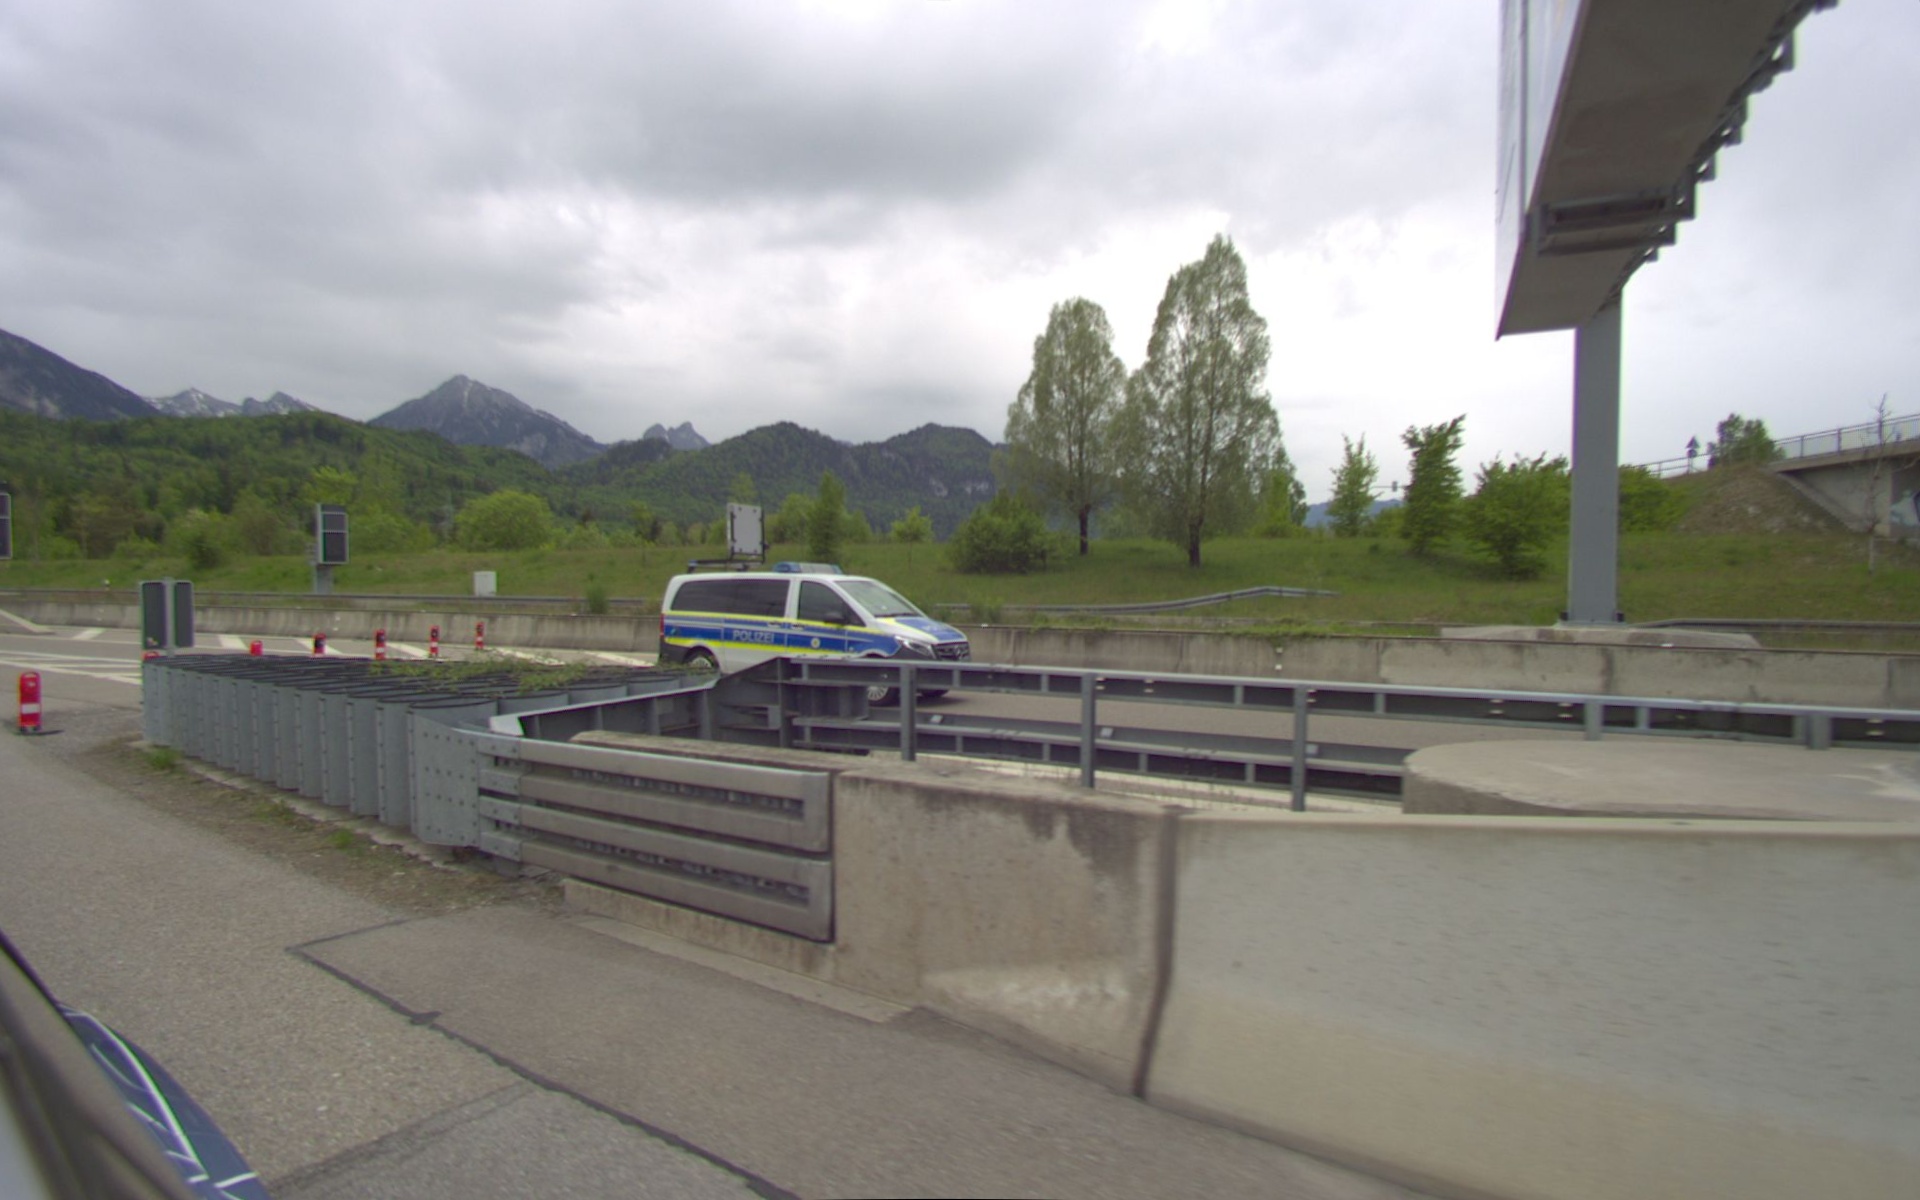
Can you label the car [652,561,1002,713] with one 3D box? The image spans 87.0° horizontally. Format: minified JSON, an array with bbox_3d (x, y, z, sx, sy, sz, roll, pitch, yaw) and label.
[{"bbox_3d":[-2.088,0.460,15.712,5.025,2.029,2.272,1,1,28],"label":"car"}]
